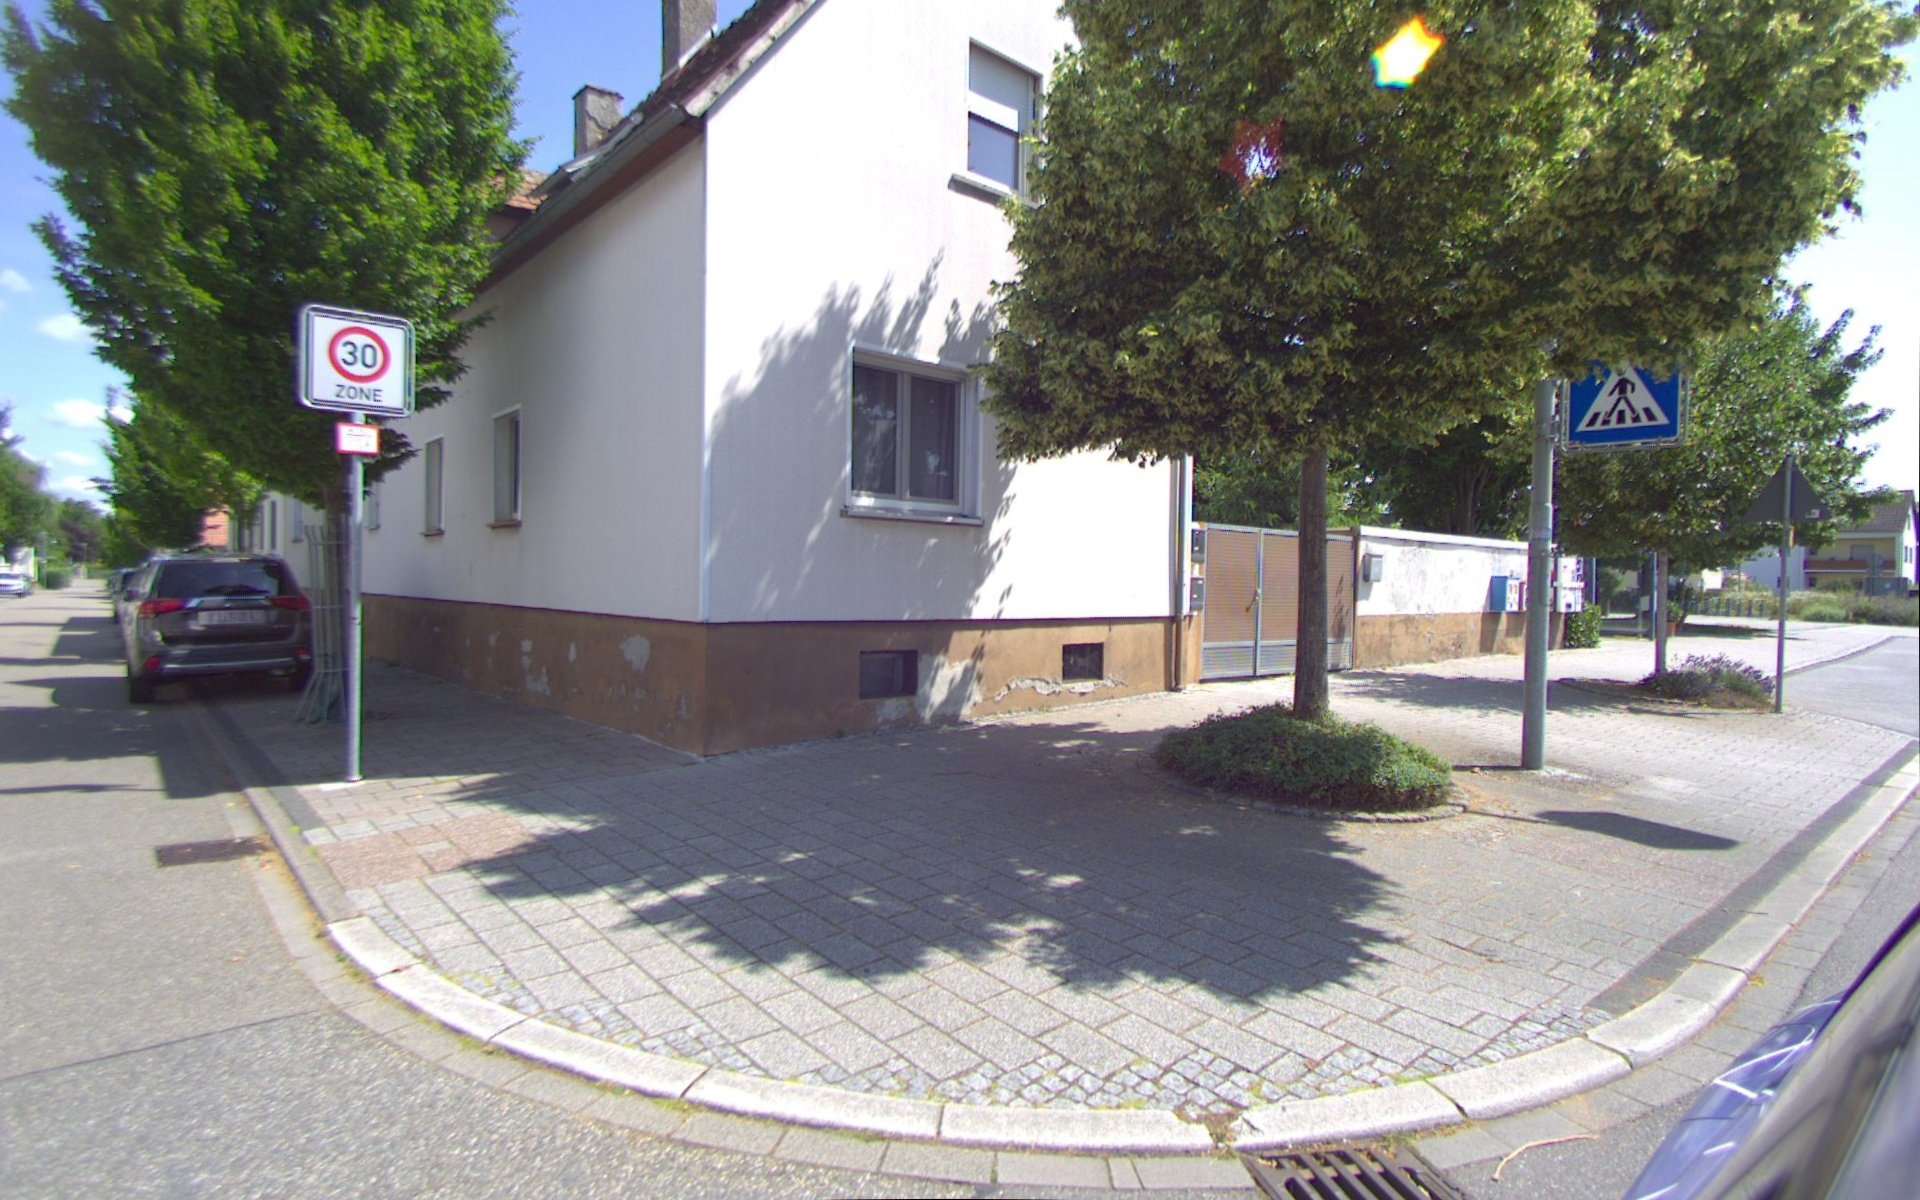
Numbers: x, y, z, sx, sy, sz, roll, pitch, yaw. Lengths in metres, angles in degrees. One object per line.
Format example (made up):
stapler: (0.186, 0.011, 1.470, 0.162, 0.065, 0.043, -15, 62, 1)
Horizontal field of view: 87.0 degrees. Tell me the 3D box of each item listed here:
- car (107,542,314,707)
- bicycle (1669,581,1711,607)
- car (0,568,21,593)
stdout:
car: (-9.382, 0.184, 12.575, 1.797, 1.693, 4.174, -1, 2, -40)
bicycle: (33.373, -0.292, 46.258, 2.583, 1.125, 0.839, -1, 2, -38)
car: (-60.338, -1.249, 63.575, 1.741, 1.512, 4.061, -1, 2, -40)
